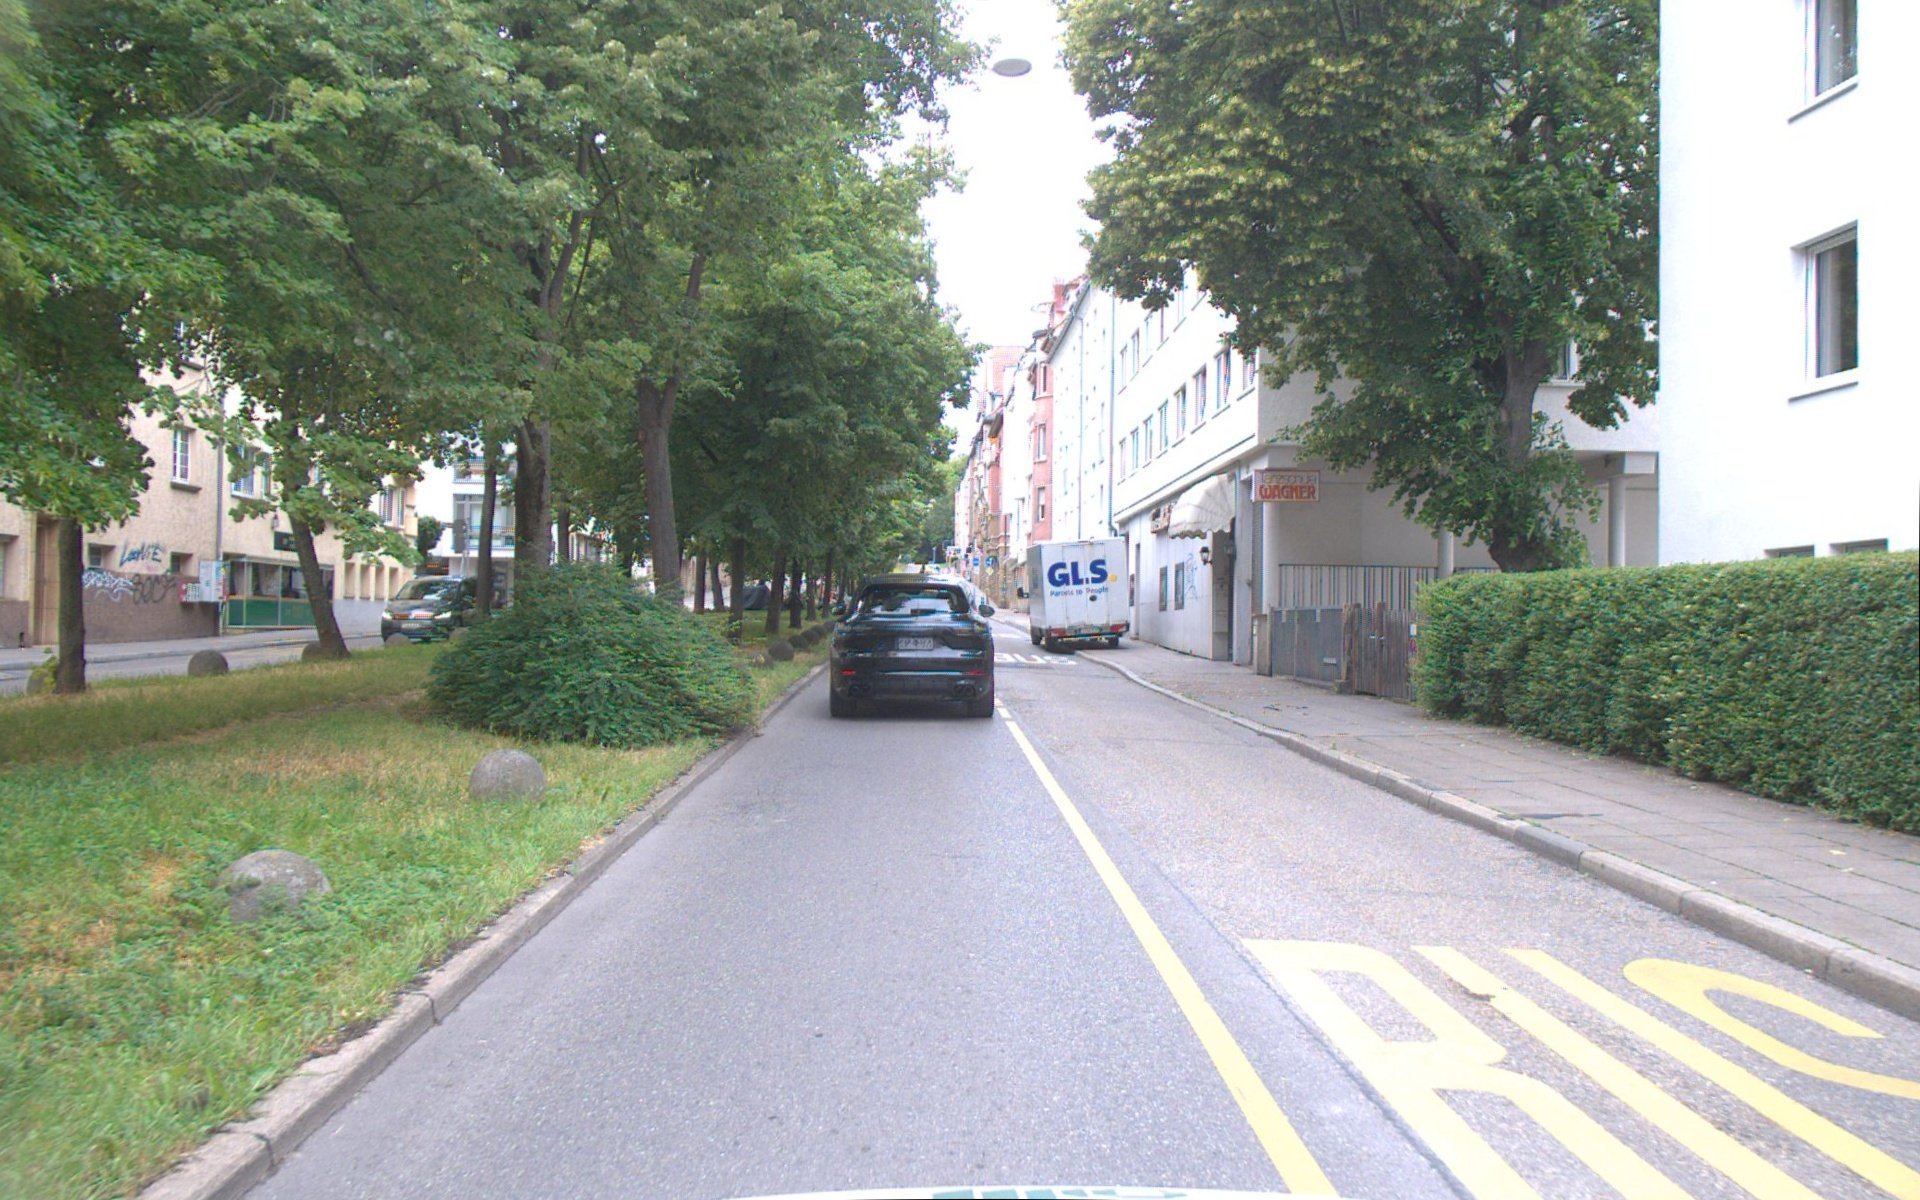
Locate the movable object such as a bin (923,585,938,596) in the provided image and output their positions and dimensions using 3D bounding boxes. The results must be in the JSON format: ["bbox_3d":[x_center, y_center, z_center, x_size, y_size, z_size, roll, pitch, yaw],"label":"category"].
[{"bbox_3d":[-3.487,-1.099,196.917,1.220,1.296,1.834,1,0,-22],"label":"movable object such as a bin"}]

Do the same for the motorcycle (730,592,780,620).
[{"bbox_3d":[-10.181,0.295,82.254,2.334,1.340,1.045,1,0,-3],"label":"motorcycle"}]

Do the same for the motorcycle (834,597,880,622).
[{"bbox_3d":[-5.286,0.471,84.940,2.308,1.257,1.033,1,0,-3],"label":"motorcycle"}]

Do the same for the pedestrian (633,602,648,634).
[{"bbox_3d":[-16.326,0.915,84.512,0.649,1.644,0.579,1,0,0],"label":"pedestrian"}]

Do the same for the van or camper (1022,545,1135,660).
[{"bbox_3d":[3.125,-0.001,45.289,2.429,2.851,7.237,1,1,-1],"label":"van or camper"}]

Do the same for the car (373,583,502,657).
[{"bbox_3d":[-12.947,0.483,41.260,1.909,1.657,4.363,2,0,-2],"label":"car"}]

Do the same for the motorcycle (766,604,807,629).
[{"bbox_3d":[-8.946,0.835,85.420,1.986,1.257,0.897,0,0,3],"label":"motorcycle"}]

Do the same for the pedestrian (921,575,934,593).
[{"bbox_3d":[-3.898,-1.931,198.312,1.281,2.049,1.015,1,-1,-18],"label":"pedestrian"}]

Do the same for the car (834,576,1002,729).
[{"bbox_3d":[-0.577,0.601,20.641,1.865,1.695,4.133,1,0,-3],"label":"car"}]
